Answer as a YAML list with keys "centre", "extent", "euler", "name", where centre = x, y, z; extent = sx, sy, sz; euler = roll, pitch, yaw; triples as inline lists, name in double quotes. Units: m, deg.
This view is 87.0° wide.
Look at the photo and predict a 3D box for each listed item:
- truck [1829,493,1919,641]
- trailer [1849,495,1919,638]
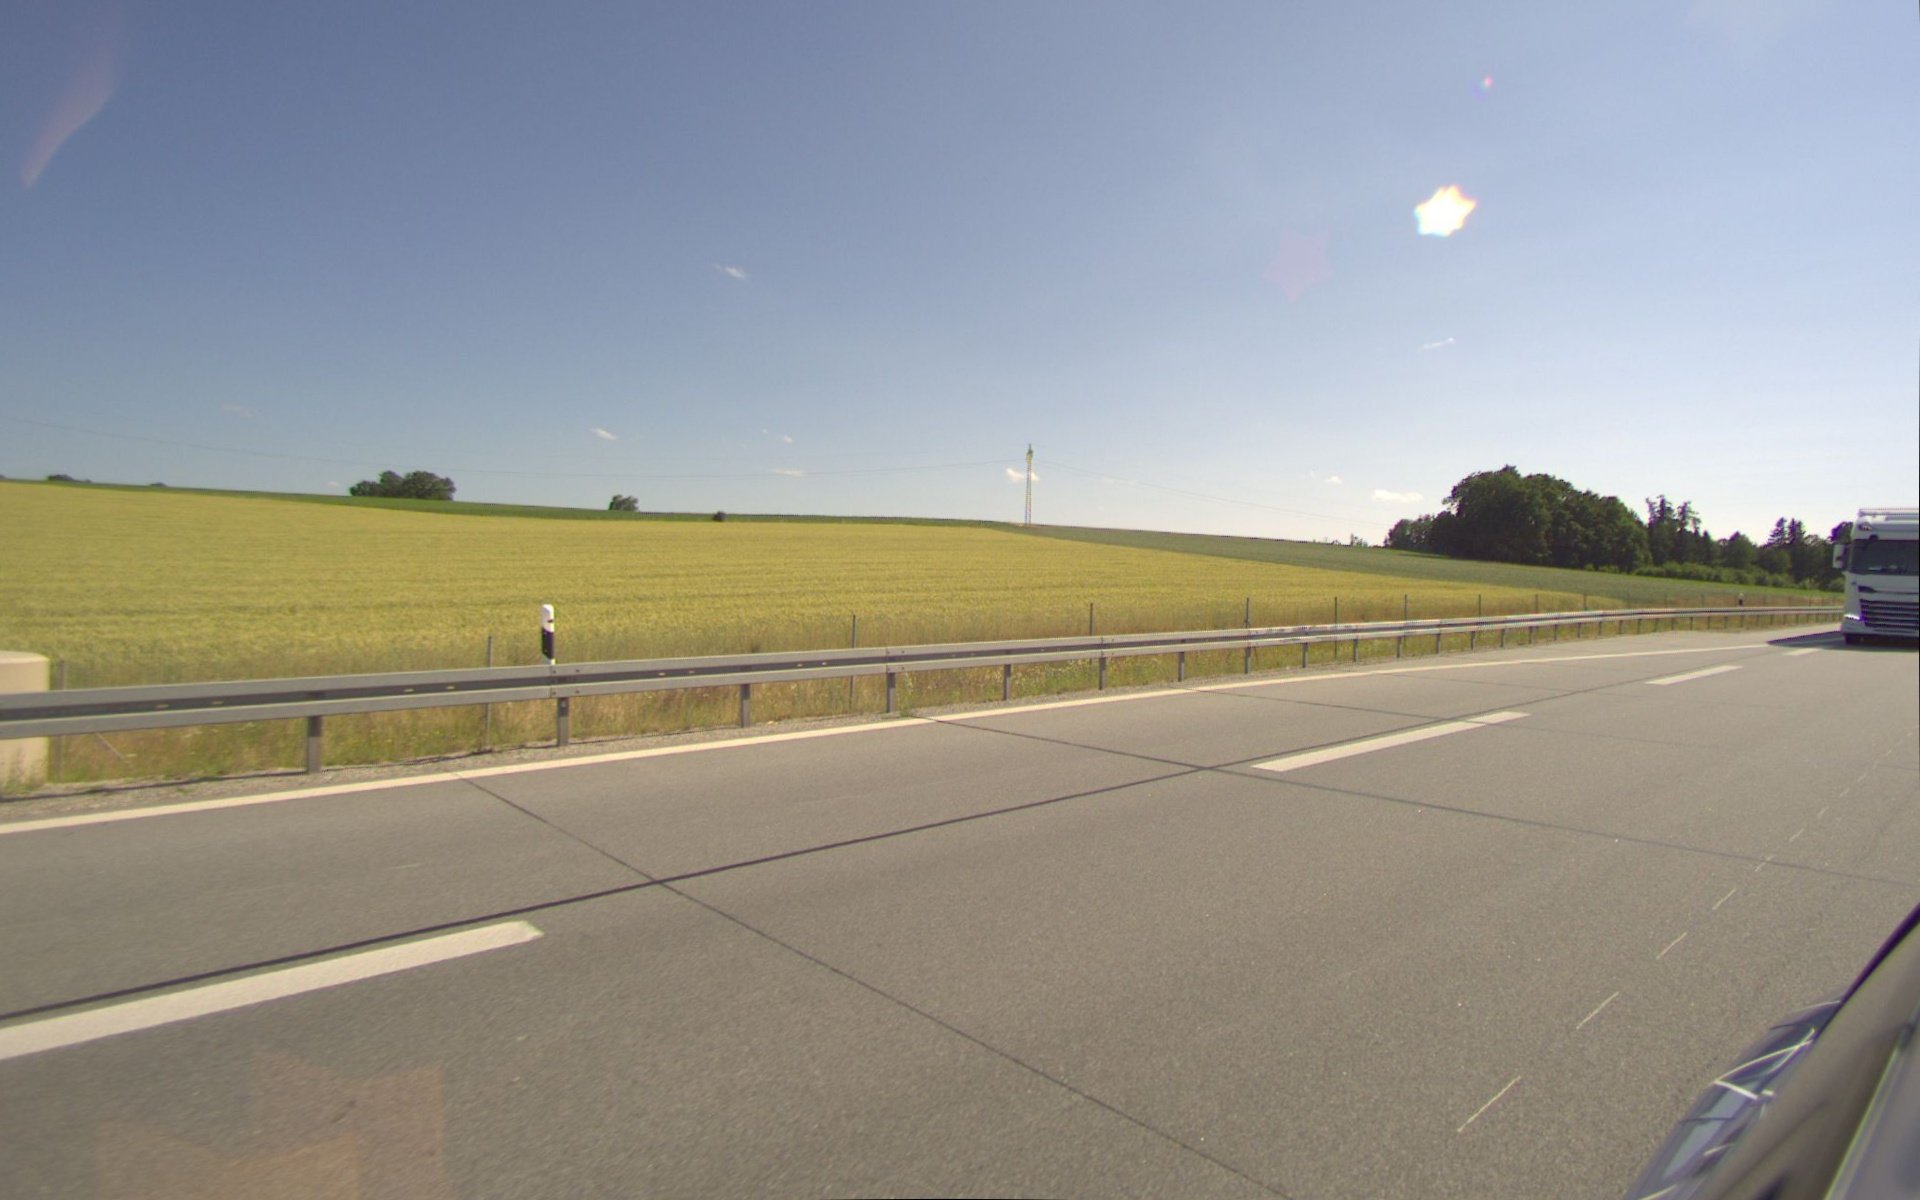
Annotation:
- centre: [28.362, -0.933, 29.919]
  extent: [6.081, 4.063, 3.089]
  euler: [0, 2, -41]
  name: "truck"
- centre: [34.909, -1.054, 35.754]
  extent: [15.192, 4.346, 3.183]
  euler: [0, 4, -42]
  name: "trailer"
